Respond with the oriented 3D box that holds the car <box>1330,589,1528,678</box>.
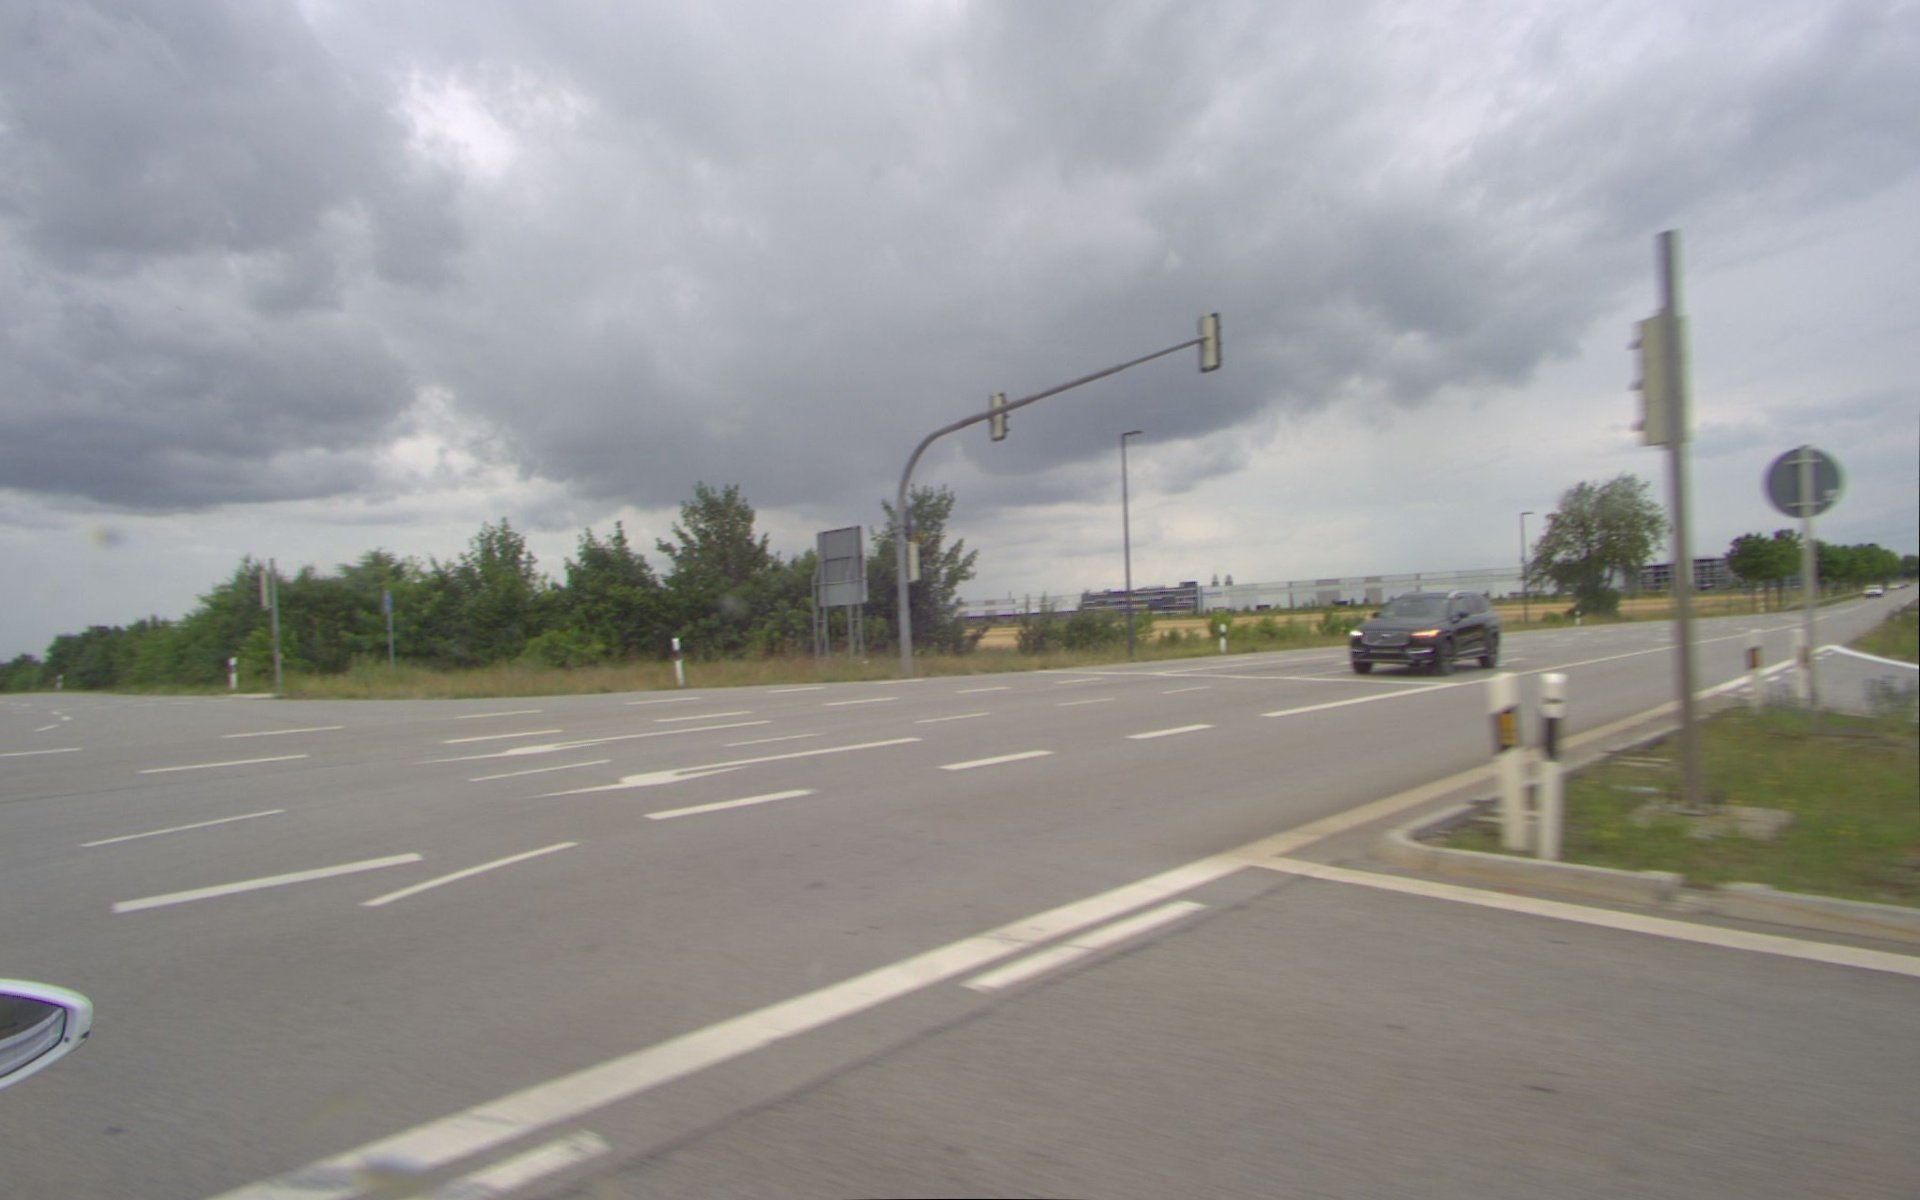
[{"bbox_3d":[10.356,0.675,21.948,4.941,1.706,1.984,-1,-1,-39],"label":"car"}]
